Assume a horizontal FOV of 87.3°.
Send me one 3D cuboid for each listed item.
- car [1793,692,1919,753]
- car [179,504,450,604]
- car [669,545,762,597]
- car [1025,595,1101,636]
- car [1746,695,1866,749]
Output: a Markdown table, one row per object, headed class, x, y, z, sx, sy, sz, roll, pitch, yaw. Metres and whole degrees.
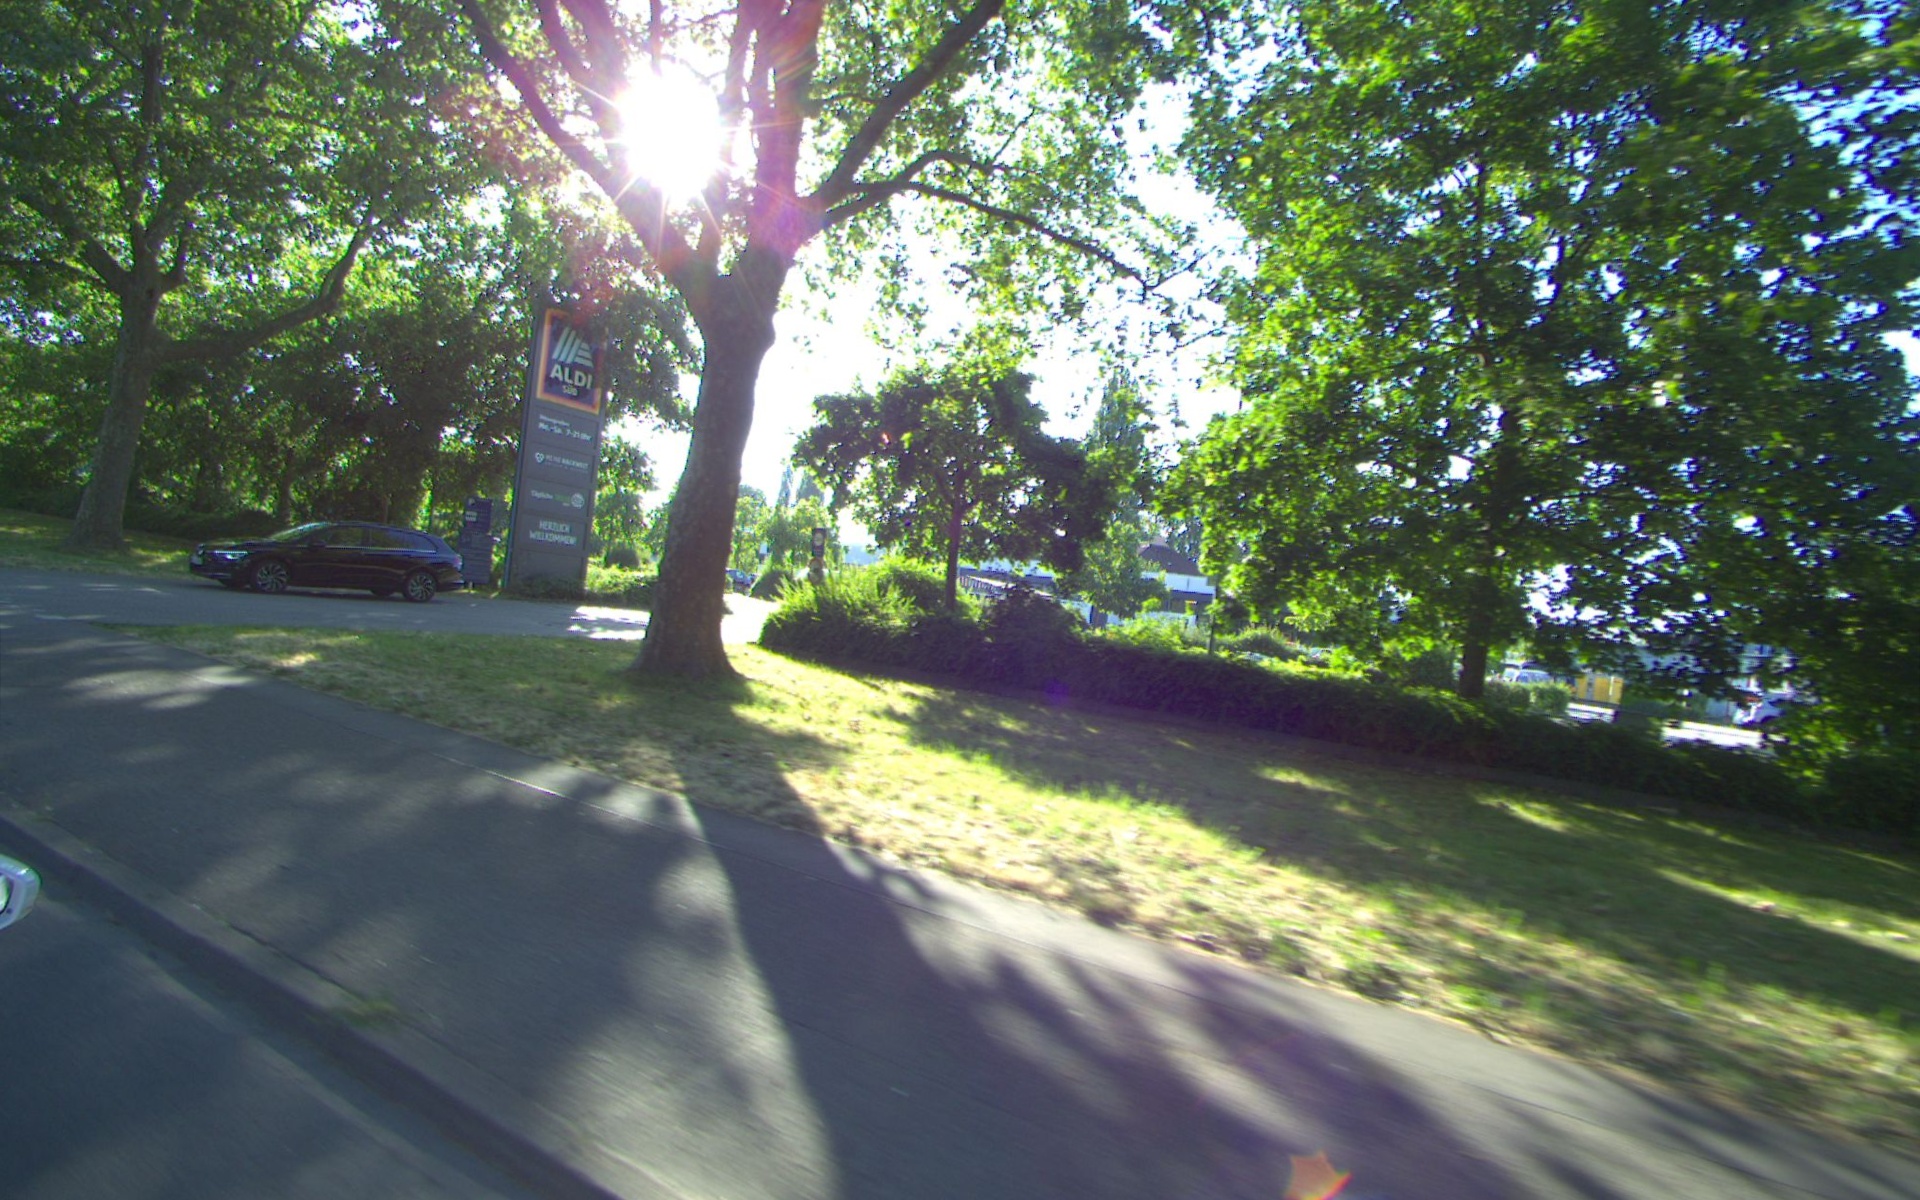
| class | x | y | z | sx | sy | sz | roll | pitch | yaw |
| --- | --- | --- | --- | --- | --- | --- | --- | --- | --- |
| car | 31.095 | 4.204 | 34.277 | 3.938 | 1.372 | 1.991 | 10 | 4 | 37 |
| car | -12.276 | -0.821 | 19.360 | 1.732 | 1.462 | 3.985 | 9 | 3 | 34 |
| car | -12.249 | -1.436 | 50.514 | 1.972 | 2.040 | 3.979 | 9 | 2 | 42 |
| car | 5.332 | 0.805 | 52.251 | 3.553 | 1.560 | 1.839 | 7 | 3 | -3 |
| car | 39.090 | 5.589 | 46.611 | 3.938 | 1.640 | 1.991 | 10 | 4 | 37 |
